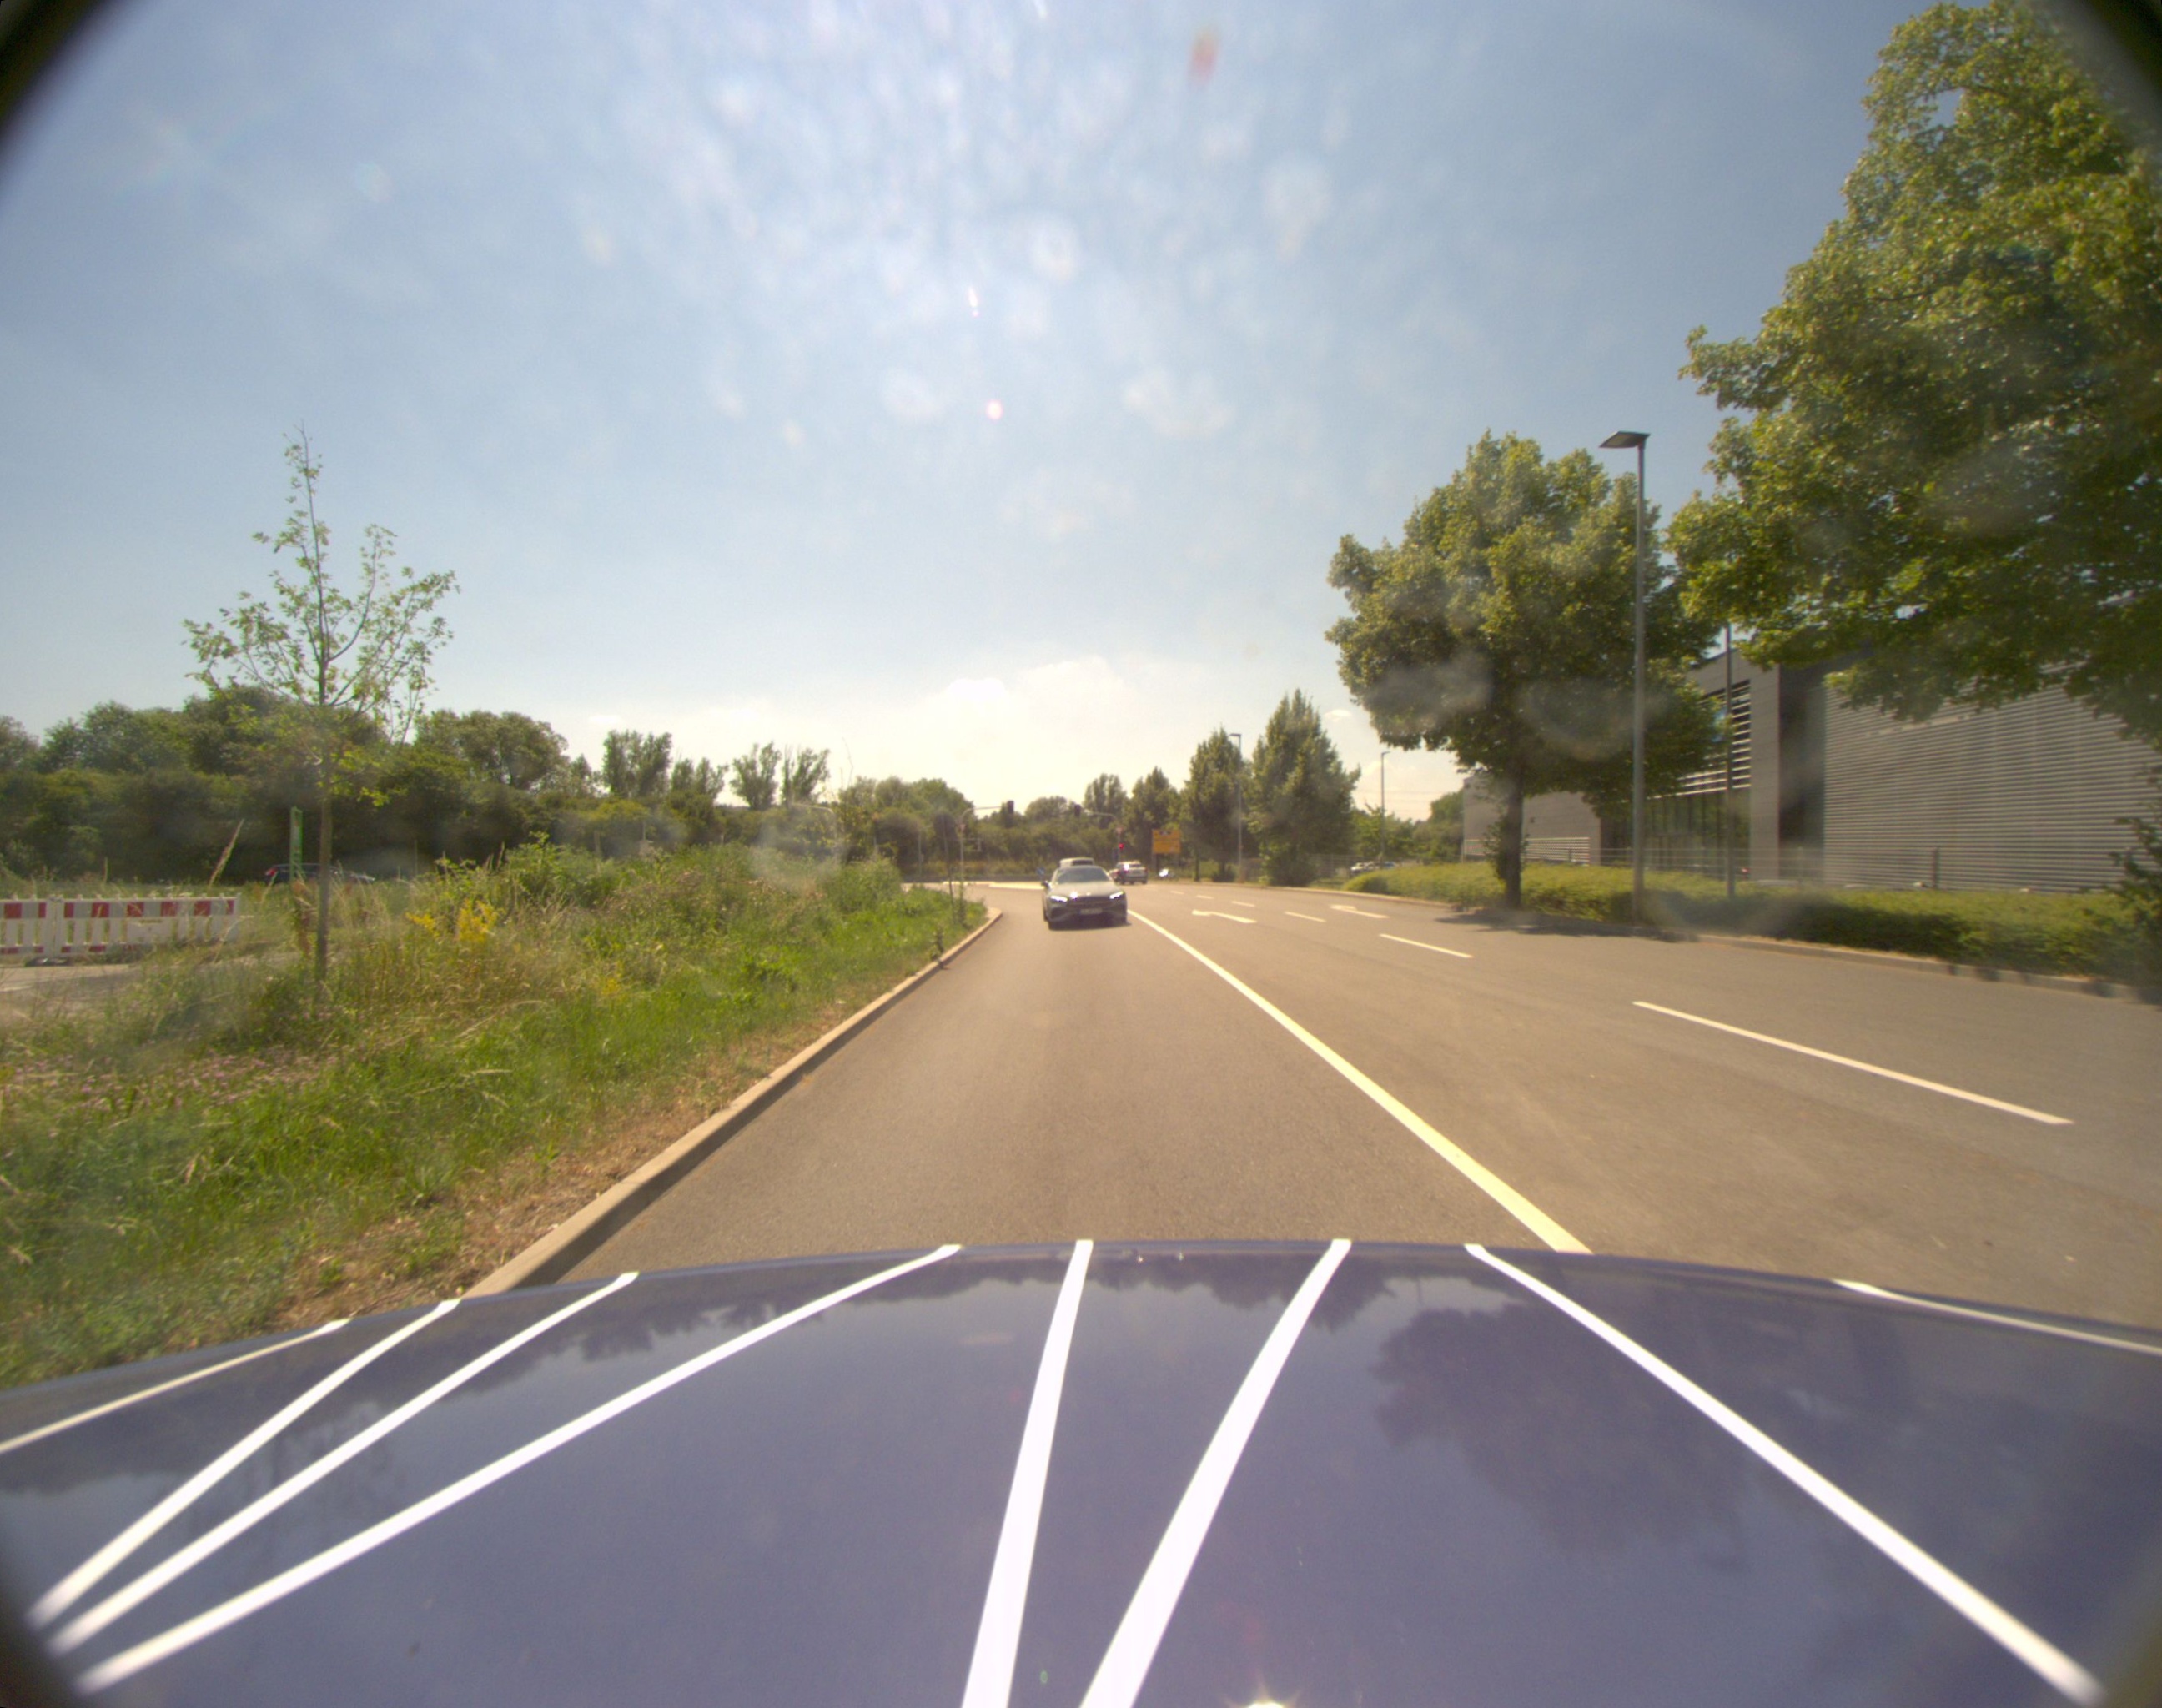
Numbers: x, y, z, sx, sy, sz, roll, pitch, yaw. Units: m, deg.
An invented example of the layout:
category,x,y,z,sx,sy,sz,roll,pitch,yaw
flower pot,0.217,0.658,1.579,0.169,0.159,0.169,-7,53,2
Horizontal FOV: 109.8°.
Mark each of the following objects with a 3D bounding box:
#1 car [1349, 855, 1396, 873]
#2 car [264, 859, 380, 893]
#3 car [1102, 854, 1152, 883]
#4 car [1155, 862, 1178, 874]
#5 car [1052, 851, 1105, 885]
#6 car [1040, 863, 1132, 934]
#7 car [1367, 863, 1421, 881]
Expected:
category,x,y,z,sx,sy,sz,roll,pitch,yaw
car,28.341,0.996,74.007,3.993,1.695,2.003,0,-2,11
car,-37.876,1.115,38.067,4.009,1.630,1.777,2,-3,-44
car,3.073,0.946,51.484,2.001,1.697,3.858,-5,2,-17
car,12.837,2.126,113.913,1.995,1.772,4.009,0,-2,27
car,-0.209,0.850,49.914,2.001,1.932,4.863,-5,2,-17
car,-0.005,1.017,19.211,1.922,1.433,4.480,-3,0,-4
car,26.888,1.533,65.352,3.993,1.477,2.003,0,-2,11
